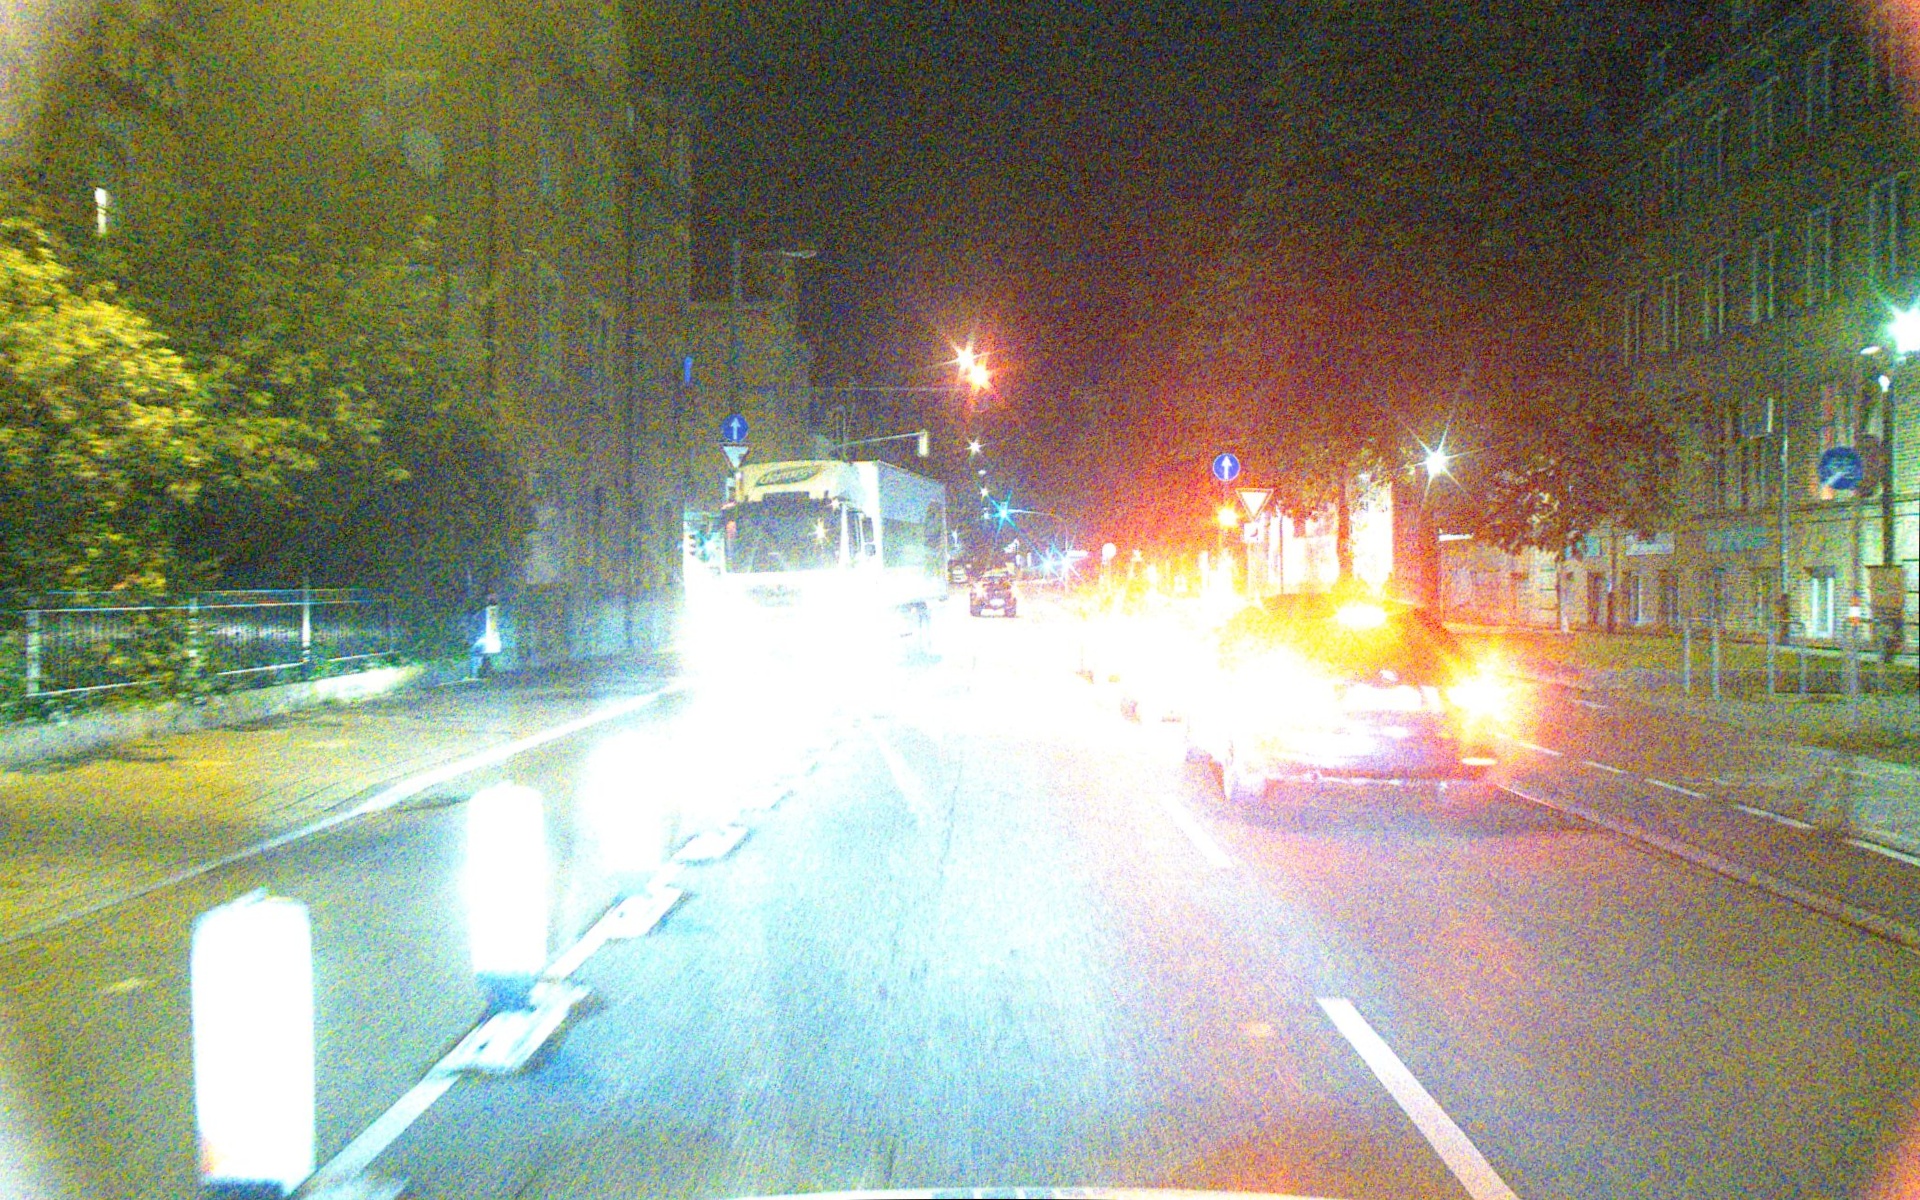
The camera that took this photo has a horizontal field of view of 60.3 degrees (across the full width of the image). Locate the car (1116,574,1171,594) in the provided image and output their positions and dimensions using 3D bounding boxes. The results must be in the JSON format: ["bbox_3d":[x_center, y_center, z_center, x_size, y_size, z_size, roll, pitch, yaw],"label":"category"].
[{"bbox_3d":[13.483,-1.176,121.455,3.903,1.410,1.772,-1,1,4],"label":"car"}]

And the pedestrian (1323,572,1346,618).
[{"bbox_3d":[14.836,-0.196,65.495,0.699,1.800,0.907,-1,0,1],"label":"pedestrian"}]

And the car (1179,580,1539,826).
[{"bbox_3d":[2.871,0.641,12.969,1.767,1.520,4.731,2,1,2],"label":"car"}]

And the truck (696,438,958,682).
[{"bbox_3d":[-2.126,-0.692,31.211,2.696,3.782,10.122,-2,1,8],"label":"truck"}]

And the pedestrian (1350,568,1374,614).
[{"bbox_3d":[15.930,-0.364,65.610,0.723,1.800,0.907,-1,0,1],"label":"pedestrian"}]

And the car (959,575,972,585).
[{"bbox_3d":[0.750,-2.849,234.486,1.741,1.414,4.000,-1,1,-1],"label":"car"}]

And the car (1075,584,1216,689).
[{"bbox_3d":[2.814,0.508,25.932,1.694,1.460,4.210,1,1,0],"label":"car"}]

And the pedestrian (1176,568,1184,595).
[{"bbox_3d":[16.606,-1.382,125.026,0.520,2.049,0.670,-1,0,0],"label":"pedestrian"}]

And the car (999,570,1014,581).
[{"bbox_3d":[7.000,-3.659,249.209,1.953,1.624,3.999,0,1,-1],"label":"car"}]

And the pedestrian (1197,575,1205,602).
[{"bbox_3d":[18.204,-0.891,125.035,0.478,2.049,0.551,-1,0,0],"label":"pedestrian"}]

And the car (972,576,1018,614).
[{"bbox_3d":[1.568,-0.226,74.781,1.953,1.668,4.000,0,1,-1],"label":"car"}]

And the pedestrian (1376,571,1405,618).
[{"bbox_3d":[17.059,-0.221,65.514,0.882,1.800,0.907,-1,0,1],"label":"pedestrian"}]

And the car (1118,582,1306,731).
[{"bbox_3d":[2.836,0.570,19.355,1.604,1.520,4.001,1,1,1],"label":"car"}]
